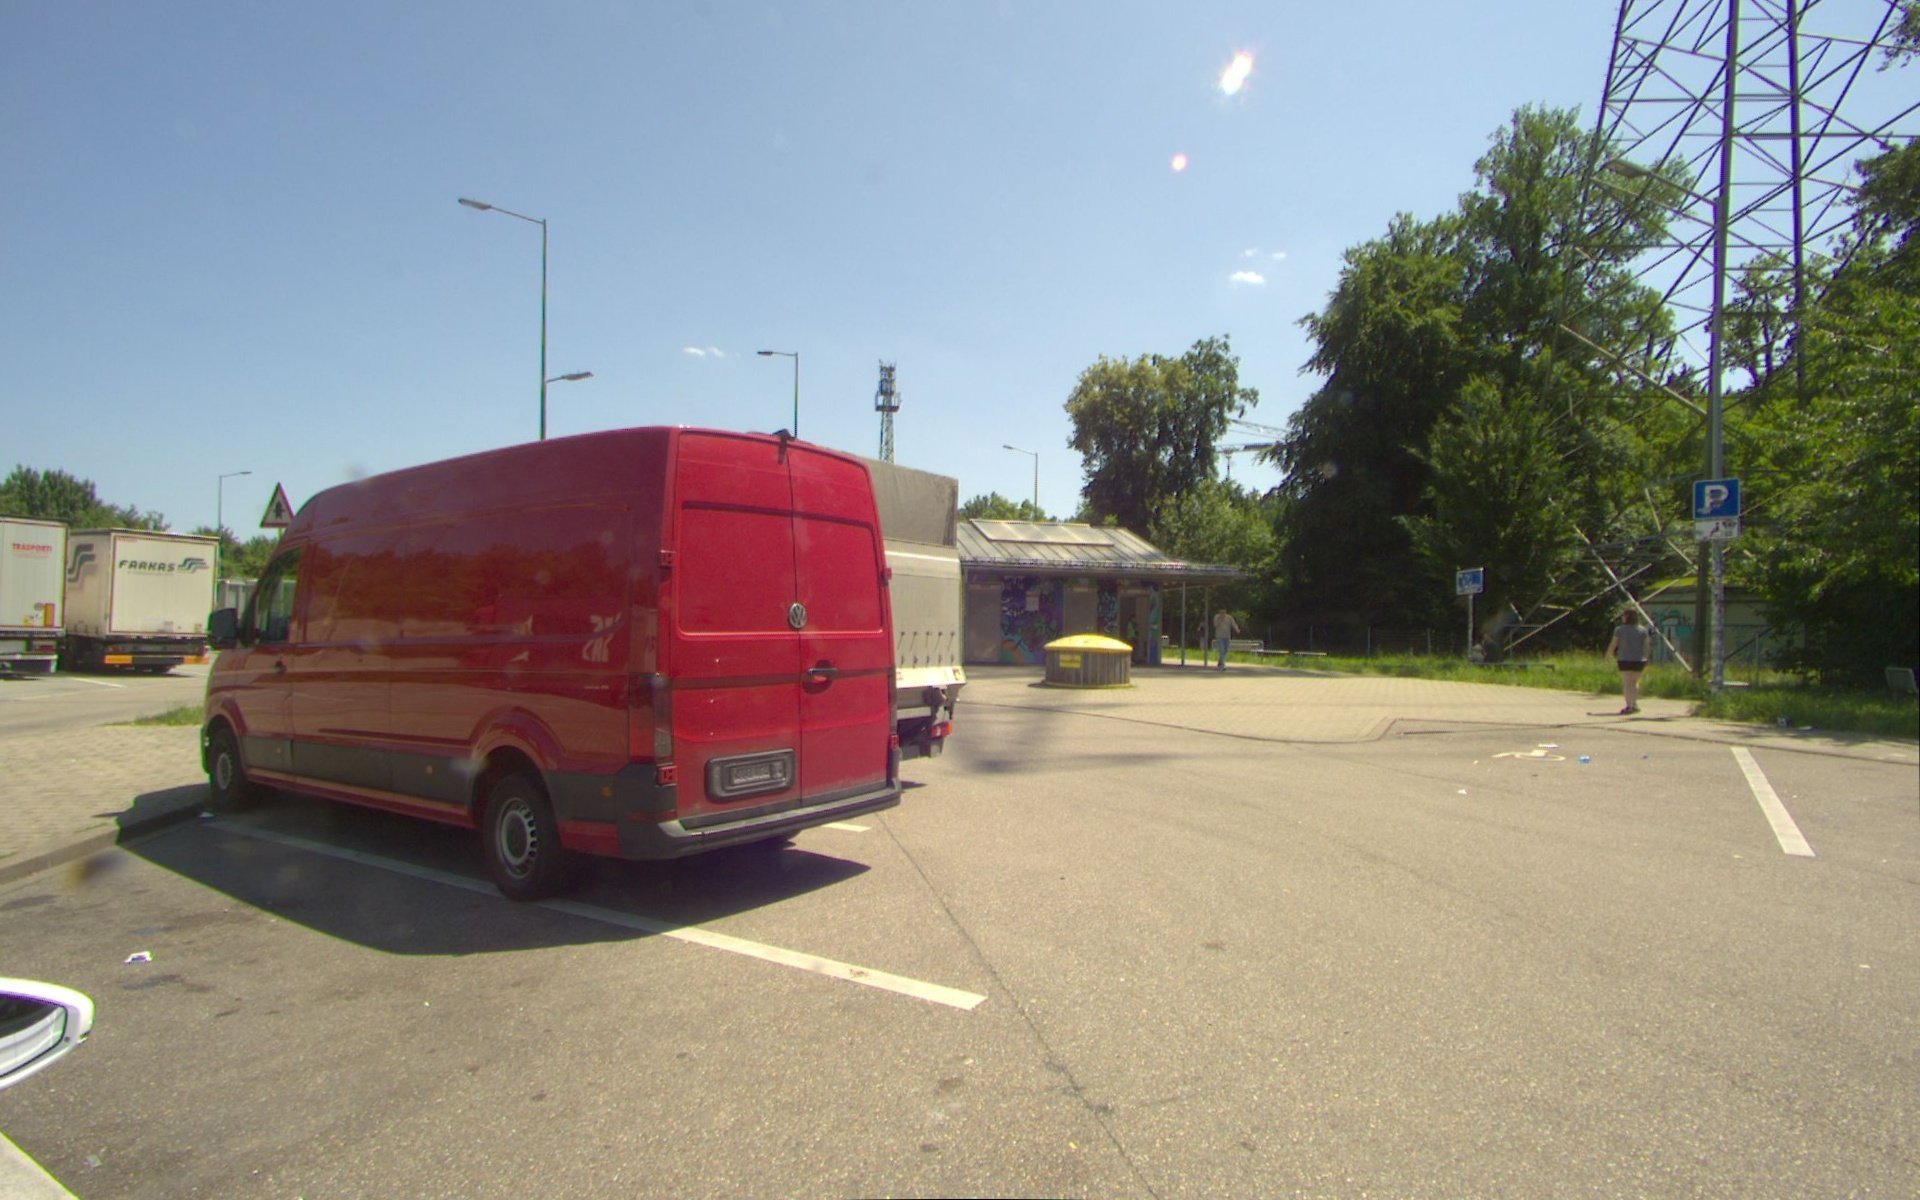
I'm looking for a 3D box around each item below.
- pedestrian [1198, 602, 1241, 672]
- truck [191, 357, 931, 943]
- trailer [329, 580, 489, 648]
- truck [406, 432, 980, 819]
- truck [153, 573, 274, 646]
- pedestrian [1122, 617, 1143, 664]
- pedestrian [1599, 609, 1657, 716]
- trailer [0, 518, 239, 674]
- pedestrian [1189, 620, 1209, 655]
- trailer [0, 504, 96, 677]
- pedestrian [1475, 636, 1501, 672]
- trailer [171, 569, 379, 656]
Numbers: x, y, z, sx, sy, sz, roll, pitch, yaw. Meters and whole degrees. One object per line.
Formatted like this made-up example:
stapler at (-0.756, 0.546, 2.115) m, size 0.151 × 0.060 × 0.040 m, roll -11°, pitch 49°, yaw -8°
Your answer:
pedestrian at (7.245, 1.038, 27.990) m, size 0.799 × 1.929 × 0.920 m, roll 0°, pitch -1°, yaw -15°
truck at (-3.314, 0.303, 7.320) m, size 6.372 × 2.685 × 2.005 m, roll -1°, pitch -2°, yaw 37°
trailer at (-36.150, 0.845, 65.319) m, size 13.561 × 3.955 × 2.854 m, roll 1°, pitch -2°, yaw 32°
truck at (-3.064, 0.274, 10.504) m, size 6.372 × 2.944 × 2.411 m, roll -1°, pitch -2°, yaw 37°
truck at (-37.528, 0.477, 50.303) m, size 5.887 × 3.406 × 2.862 m, roll 1°, pitch -2°, yaw 32°
pedestrian at (5.226, 1.230, 30.297) m, size 0.532 × 1.392 × 0.583 m, roll 0°, pitch -1°, yaw 0°
pedestrian at (10.713, 0.991, 16.049) m, size 0.680 × 1.670 × 0.709 m, roll -1°, pitch -2°, yaw 41°
trailer at (-27.593, -0.166, 31.590) m, size 13.561 × 4.162 × 2.854 m, roll 1°, pitch -2°, yaw 32°
pedestrian at (11.110, 1.736, 46.599) m, size 0.798 × 1.639 × 0.921 m, roll 0°, pitch -1°, yaw 6°
trailer at (-28.666, -0.338, 28.003) m, size 13.561 × 4.162 × 2.854 m, roll 1°, pitch -2°, yaw 32°
pedestrian at (14.665, 1.487, 27.800) m, size 0.439 × 0.987 × 0.460 m, roll 0°, pitch -1°, yaw -19°
trailer at (-32.456, 0.486, 47.080) m, size 13.561 × 3.646 × 2.854 m, roll 1°, pitch -2°, yaw 32°
